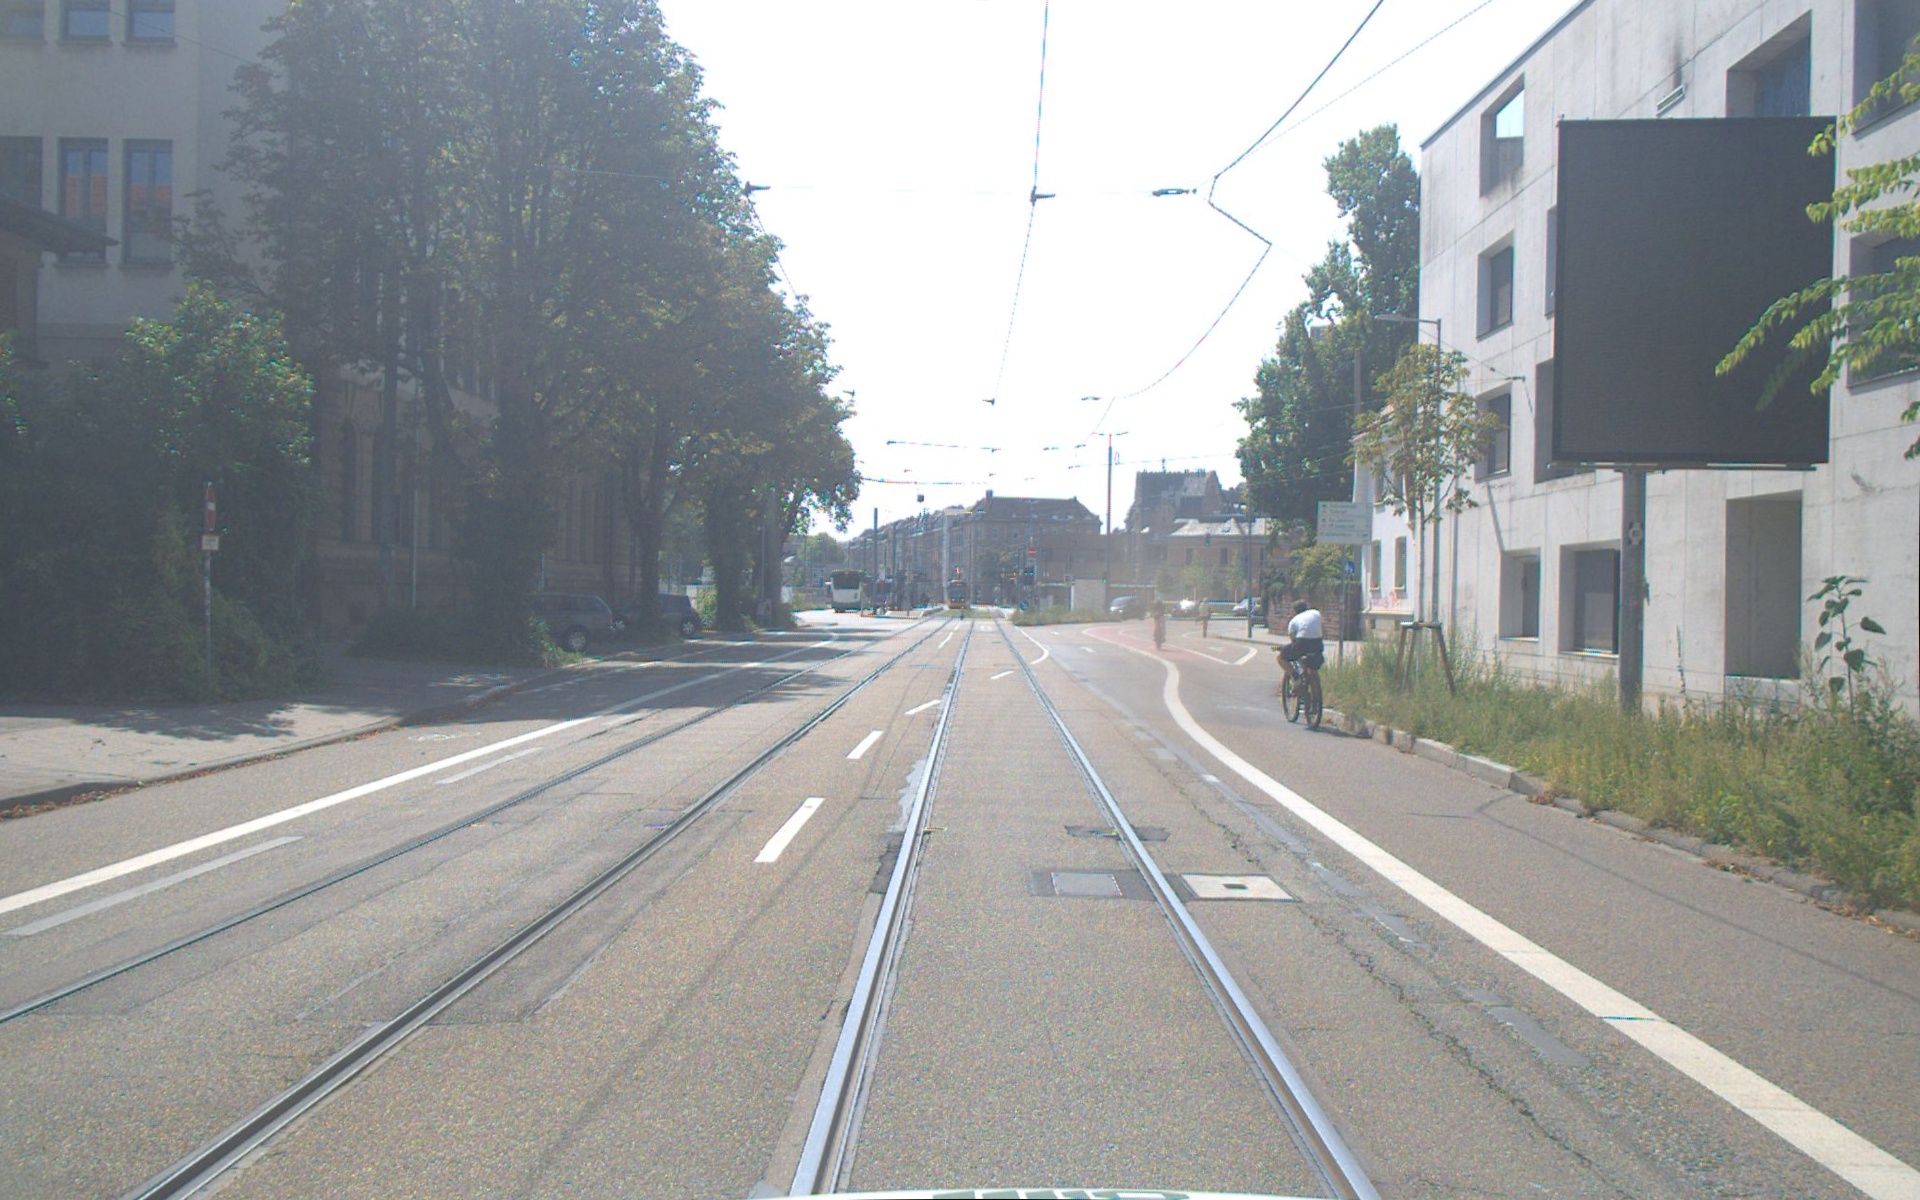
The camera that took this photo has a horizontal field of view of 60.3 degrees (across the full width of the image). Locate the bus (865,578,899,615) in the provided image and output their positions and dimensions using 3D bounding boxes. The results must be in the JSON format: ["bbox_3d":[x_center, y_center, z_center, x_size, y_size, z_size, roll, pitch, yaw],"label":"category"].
[{"bbox_3d":[-8.400,-0.395,178.512,2.653,3.792,10.421,1,0,2],"label":"bus"}]

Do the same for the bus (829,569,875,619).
[{"bbox_3d":[-8.637,-0.467,133.164,2.897,3.841,10.596,1,0,0],"label":"bus"}]

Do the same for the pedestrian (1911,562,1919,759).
[{"bbox_3d":[8.933,0.545,14.658,0.677,1.762,0.579,1,0,3],"label":"pedestrian"}]

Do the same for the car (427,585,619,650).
[{"bbox_3d":[-10.947,0.446,41.466,4.361,1.487,1.806,2,0,-26],"label":"car"}]

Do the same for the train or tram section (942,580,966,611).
[{"bbox_3d":[-0.688,-0.568,207.116,2.798,3.610,17.742,1,0,0],"label":"train or tram section"}]

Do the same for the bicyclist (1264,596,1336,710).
[{"bbox_3d":[4.404,0.669,21.471,0.729,1.436,0.962,1,0,1],"label":"bicyclist"}]

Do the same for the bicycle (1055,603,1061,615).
[{"bbox_3d":[8.142,0.753,137.863,0.454,1.051,1.548,1,0,3],"label":"bicycle"}]

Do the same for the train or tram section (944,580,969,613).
[{"bbox_3d":[-0.363,-0.441,225.590,2.827,4.139,19.143,1,0,1],"label":"train or tram section"}]

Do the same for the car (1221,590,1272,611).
[{"bbox_3d":[23.226,0.019,133.841,1.748,1.639,4.639,1,0,45],"label":"car"}]

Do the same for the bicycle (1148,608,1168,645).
[{"bbox_3d":[6.410,0.847,53.551,0.591,1.183,1.812,1,0,5],"label":"bicycle"}]

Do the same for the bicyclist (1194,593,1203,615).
[{"bbox_3d":[15.955,0.274,110.520,0.441,1.446,0.495,0,0,27],"label":"bicyclist"}]

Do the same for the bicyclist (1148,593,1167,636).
[{"bbox_3d":[6.408,0.465,53.583,0.590,1.358,0.660,1,0,6],"label":"bicyclist"}]

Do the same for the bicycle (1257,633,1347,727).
[{"bbox_3d":[4.388,1.002,21.362,0.724,1.067,2.233,1,0,1],"label":"bicycle"}]

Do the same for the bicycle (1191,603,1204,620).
[{"bbox_3d":[15.841,0.778,110.317,0.435,1.136,1.444,0,0,27],"label":"bicycle"}]

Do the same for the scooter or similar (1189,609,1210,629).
[{"bbox_3d":[11.800,0.918,81.519,0.756,0.942,1.621,1,0,18],"label":"scooter or similar"}]

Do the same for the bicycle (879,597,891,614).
[{"bbox_3d":[-5.430,0.408,119.831,0.594,1.244,1.706,1,0,5],"label":"bicycle"}]

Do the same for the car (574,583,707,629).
[{"bbox_3d":[-10.918,0.217,56.573,4.118,1.522,1.797,1,0,-37],"label":"car"}]

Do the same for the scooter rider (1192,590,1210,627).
[{"bbox_3d":[11.928,0.436,81.879,0.746,1.806,0.555,1,0,18],"label":"scooter rider"}]
